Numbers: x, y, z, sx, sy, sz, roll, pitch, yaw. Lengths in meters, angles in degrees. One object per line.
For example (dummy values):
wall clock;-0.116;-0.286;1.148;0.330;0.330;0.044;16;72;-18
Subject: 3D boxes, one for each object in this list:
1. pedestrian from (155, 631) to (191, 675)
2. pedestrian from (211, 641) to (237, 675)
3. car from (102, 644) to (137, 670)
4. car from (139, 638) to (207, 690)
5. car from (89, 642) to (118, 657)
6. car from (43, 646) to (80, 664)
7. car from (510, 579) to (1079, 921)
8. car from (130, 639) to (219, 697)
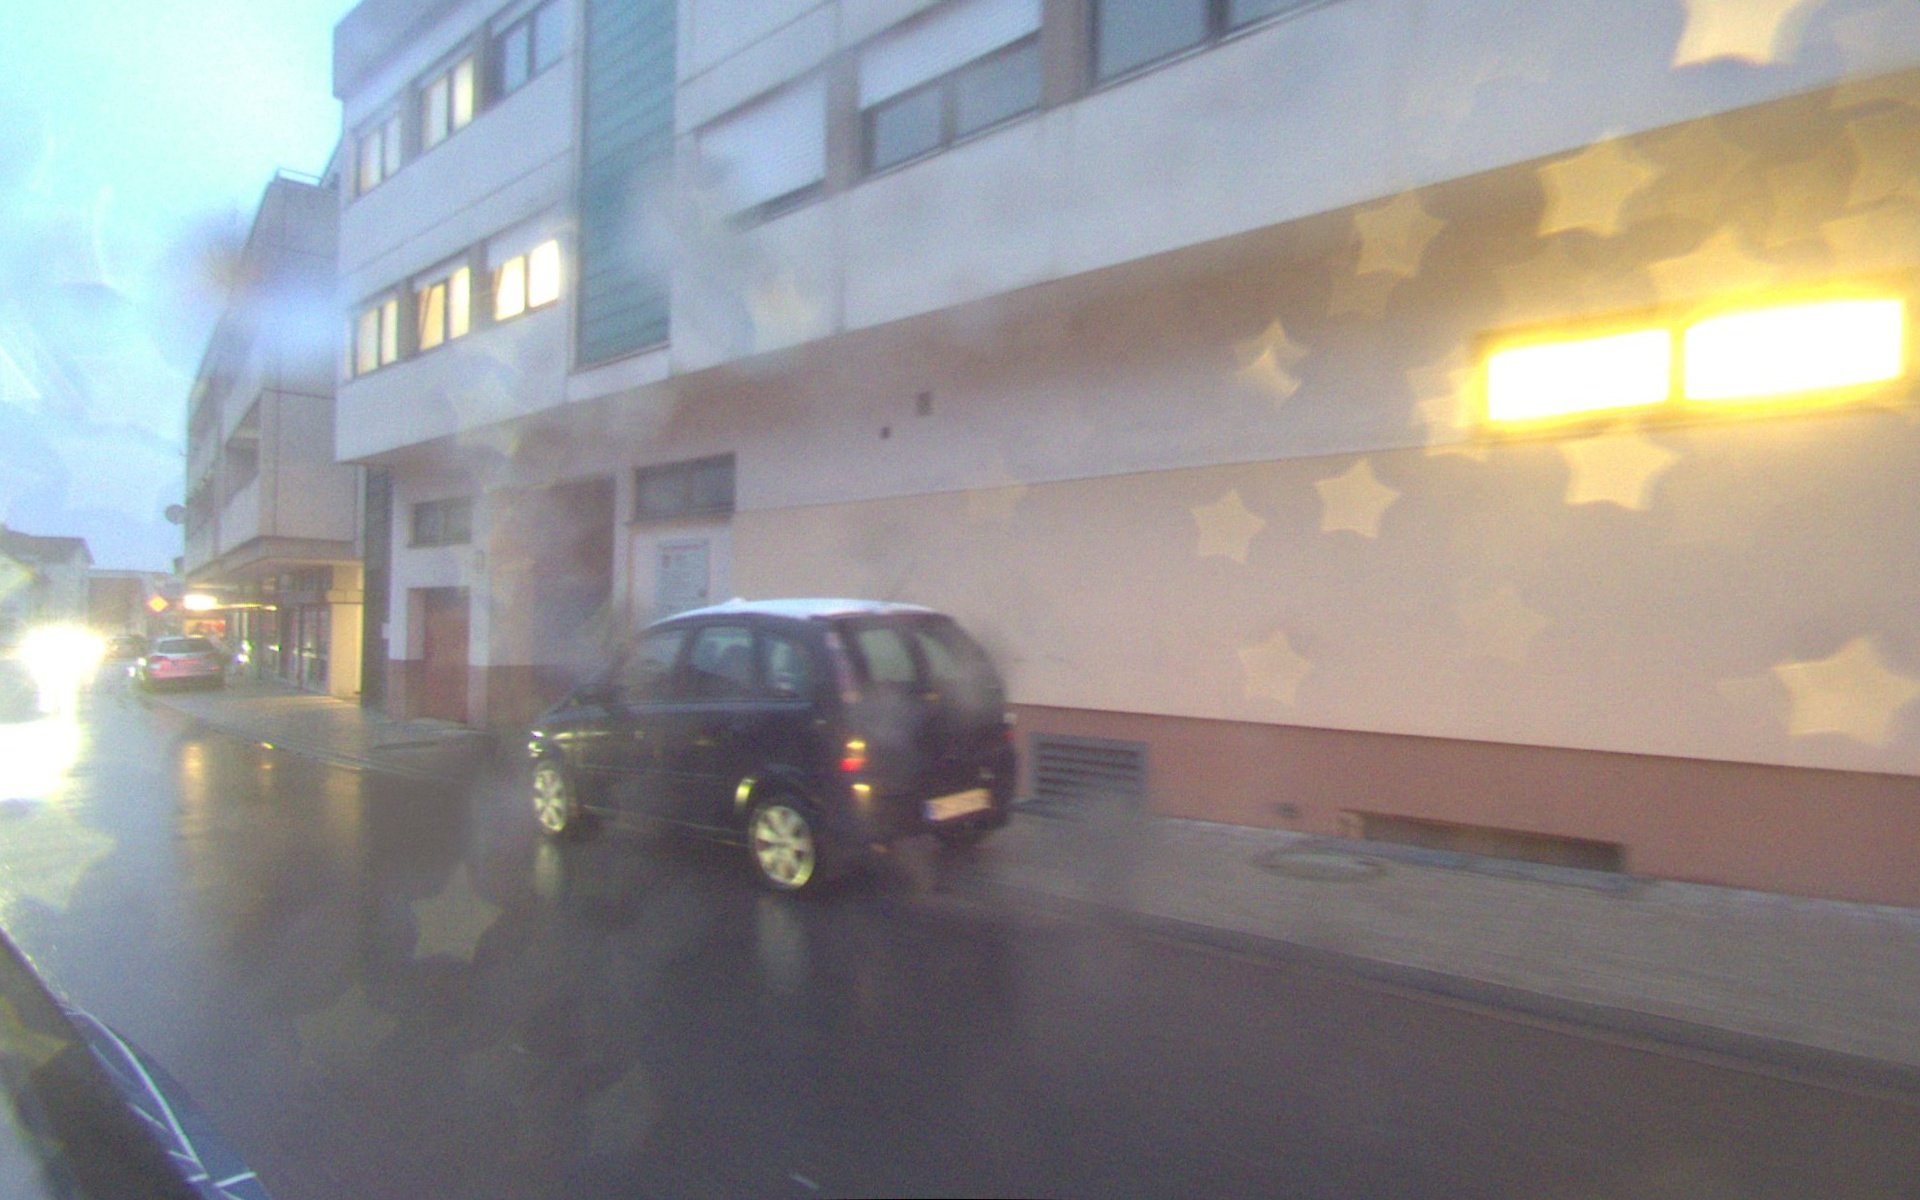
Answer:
pedestrian;-35.832;2.419;46.100;1.182;1.953;0.979;2;-4;-33
pedestrian;-29.068;2.281;39.949;0.746;1.320;0.829;0;-2;-43
car;-55.531;3.746;66.900;1.699;1.626;3.822;-1;-1;-40
car;-25.915;2.051;33.271;1.595;1.544;3.934;0;-2;-40
car;-89.732;5.205;106.061;1.770;1.522;4.011;3;-4;-33
car;-78.973;4.790;88.963;1.770;1.522;4.011;3;-4;-33
car;-1.288;0.783;6.833;3.810;1.655;1.775;-2;-2;41
car;-22.317;1.867;28.693;1.655;1.457;4.433;0;-1;-42
